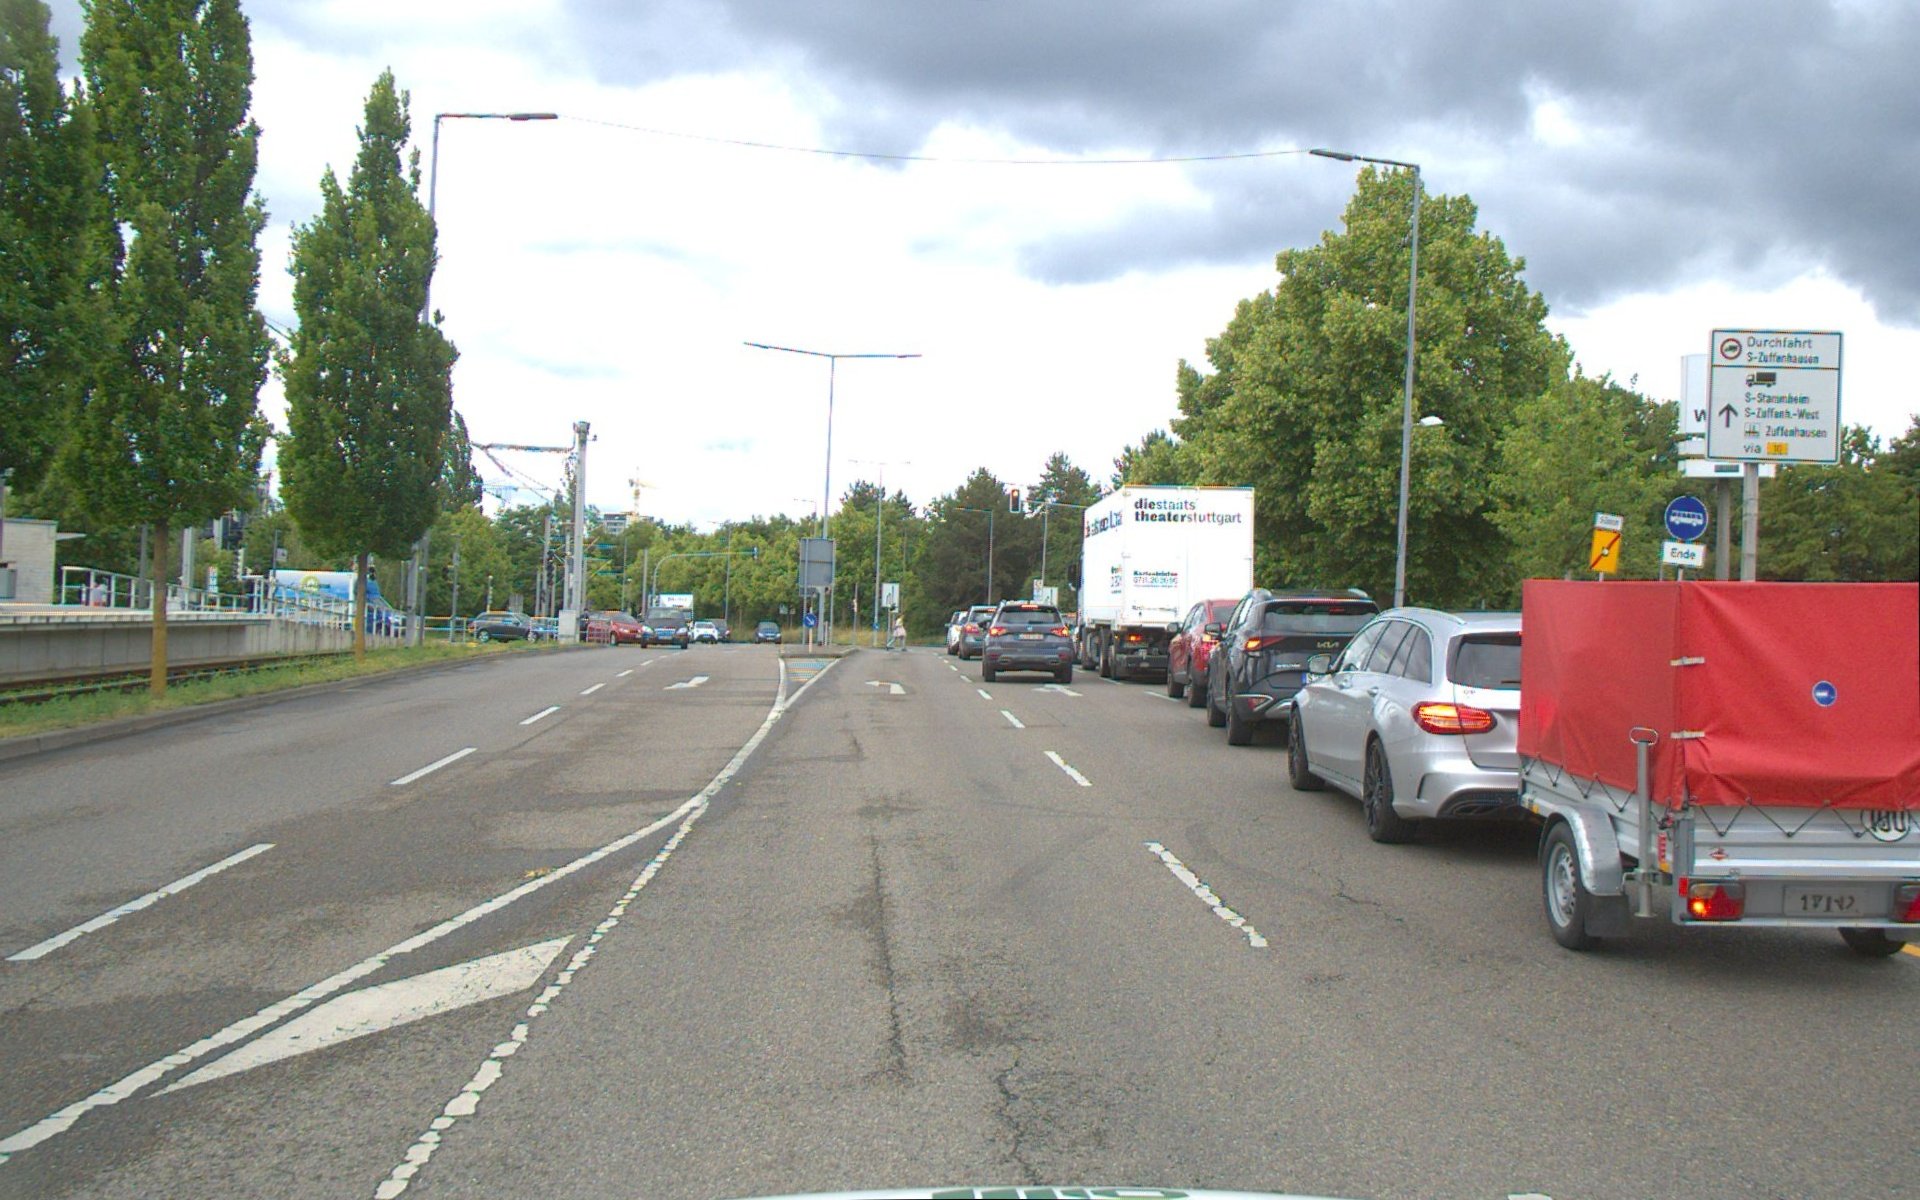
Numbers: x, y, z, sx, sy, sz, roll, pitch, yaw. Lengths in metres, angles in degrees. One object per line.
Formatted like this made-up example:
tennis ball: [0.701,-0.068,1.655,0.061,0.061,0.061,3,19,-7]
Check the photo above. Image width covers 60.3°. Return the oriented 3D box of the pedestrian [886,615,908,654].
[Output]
pedestrian: [-2.607,1.426,68.417,0.847,1.587,0.518,1,1,-4]

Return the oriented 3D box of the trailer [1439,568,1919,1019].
trailer: [3.347,0.696,7.628,1.380,1.622,3.304,1,0,1]

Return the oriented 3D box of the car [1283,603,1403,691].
car: [7.724,0.917,33.598,1.539,1.598,3.058,3,0,-3]

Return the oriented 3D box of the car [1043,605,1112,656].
car: [3.647,0.923,51.951,1.788,1.460,4.212,1,0,-1]

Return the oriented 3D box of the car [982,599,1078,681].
car: [1.329,0.776,32.764,1.663,1.512,3.999,1,-1,-1]

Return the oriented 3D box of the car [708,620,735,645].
car: [-18.308,2.478,126.875,1.881,1.758,3.990,1,0,-11]

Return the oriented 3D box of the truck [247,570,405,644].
truck: [-32.669,0.338,85.452,7.094,3.661,2.691,1,1,-2]

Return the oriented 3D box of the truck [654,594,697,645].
truck: [-21.962,1.434,127.432,2.615,3.713,9.469,1,0,-14]

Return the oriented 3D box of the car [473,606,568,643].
car: [-20.922,1.153,78.832,3.902,1.624,2.002,1,0,7]

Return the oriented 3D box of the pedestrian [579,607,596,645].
pedestrian: [-15.536,1.075,68.940,0.346,1.583,0.652,1,2,32]

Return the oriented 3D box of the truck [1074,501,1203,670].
truck: [4.146,-0.310,39.219,2.519,3.770,4.105,1,0,-1]

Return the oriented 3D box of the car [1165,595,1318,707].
car: [4.201,0.726,25.251,1.672,1.551,4.320,1,0,1]

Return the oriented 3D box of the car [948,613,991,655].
car: [0.325,1.282,62.257,1.504,1.531,2.668,1,-2,-2]

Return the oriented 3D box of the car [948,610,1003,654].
car: [0.499,1.123,57.120,1.687,1.447,4.354,1,-1,-2]

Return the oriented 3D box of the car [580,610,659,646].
car: [-15.555,1.245,75.411,1.695,1.514,4.021,1,0,-43]

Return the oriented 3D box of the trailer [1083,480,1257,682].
trailer: [4.253,-0.339,35.023,2.514,3.770,7.761,1,0,-1]

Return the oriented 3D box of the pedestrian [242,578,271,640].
pedestrian: [-21.377,0.275,50.281,0.561,1.860,0.792,1,-1,-6]

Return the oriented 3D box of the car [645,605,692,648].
car: [-11.132,1.007,62.999,1.695,1.601,3.696,0,-1,-11]

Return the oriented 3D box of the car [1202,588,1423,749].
car: [3.817,0.676,18.600,1.806,1.588,4.406,0,0,4]

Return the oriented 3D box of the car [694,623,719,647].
car: [-17.753,2.428,115.825,1.742,1.534,3.739,1,0,-9]

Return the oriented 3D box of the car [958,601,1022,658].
car: [0.840,0.822,48.234,1.762,1.550,4.187,1,0,0]

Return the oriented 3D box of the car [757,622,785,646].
car: [-13.817,2.460,120.759,1.881,1.604,3.991,1,0,-10]

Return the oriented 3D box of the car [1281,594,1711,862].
car: [3.445,0.721,11.533,1.637,1.473,4.490,1,0,1]
